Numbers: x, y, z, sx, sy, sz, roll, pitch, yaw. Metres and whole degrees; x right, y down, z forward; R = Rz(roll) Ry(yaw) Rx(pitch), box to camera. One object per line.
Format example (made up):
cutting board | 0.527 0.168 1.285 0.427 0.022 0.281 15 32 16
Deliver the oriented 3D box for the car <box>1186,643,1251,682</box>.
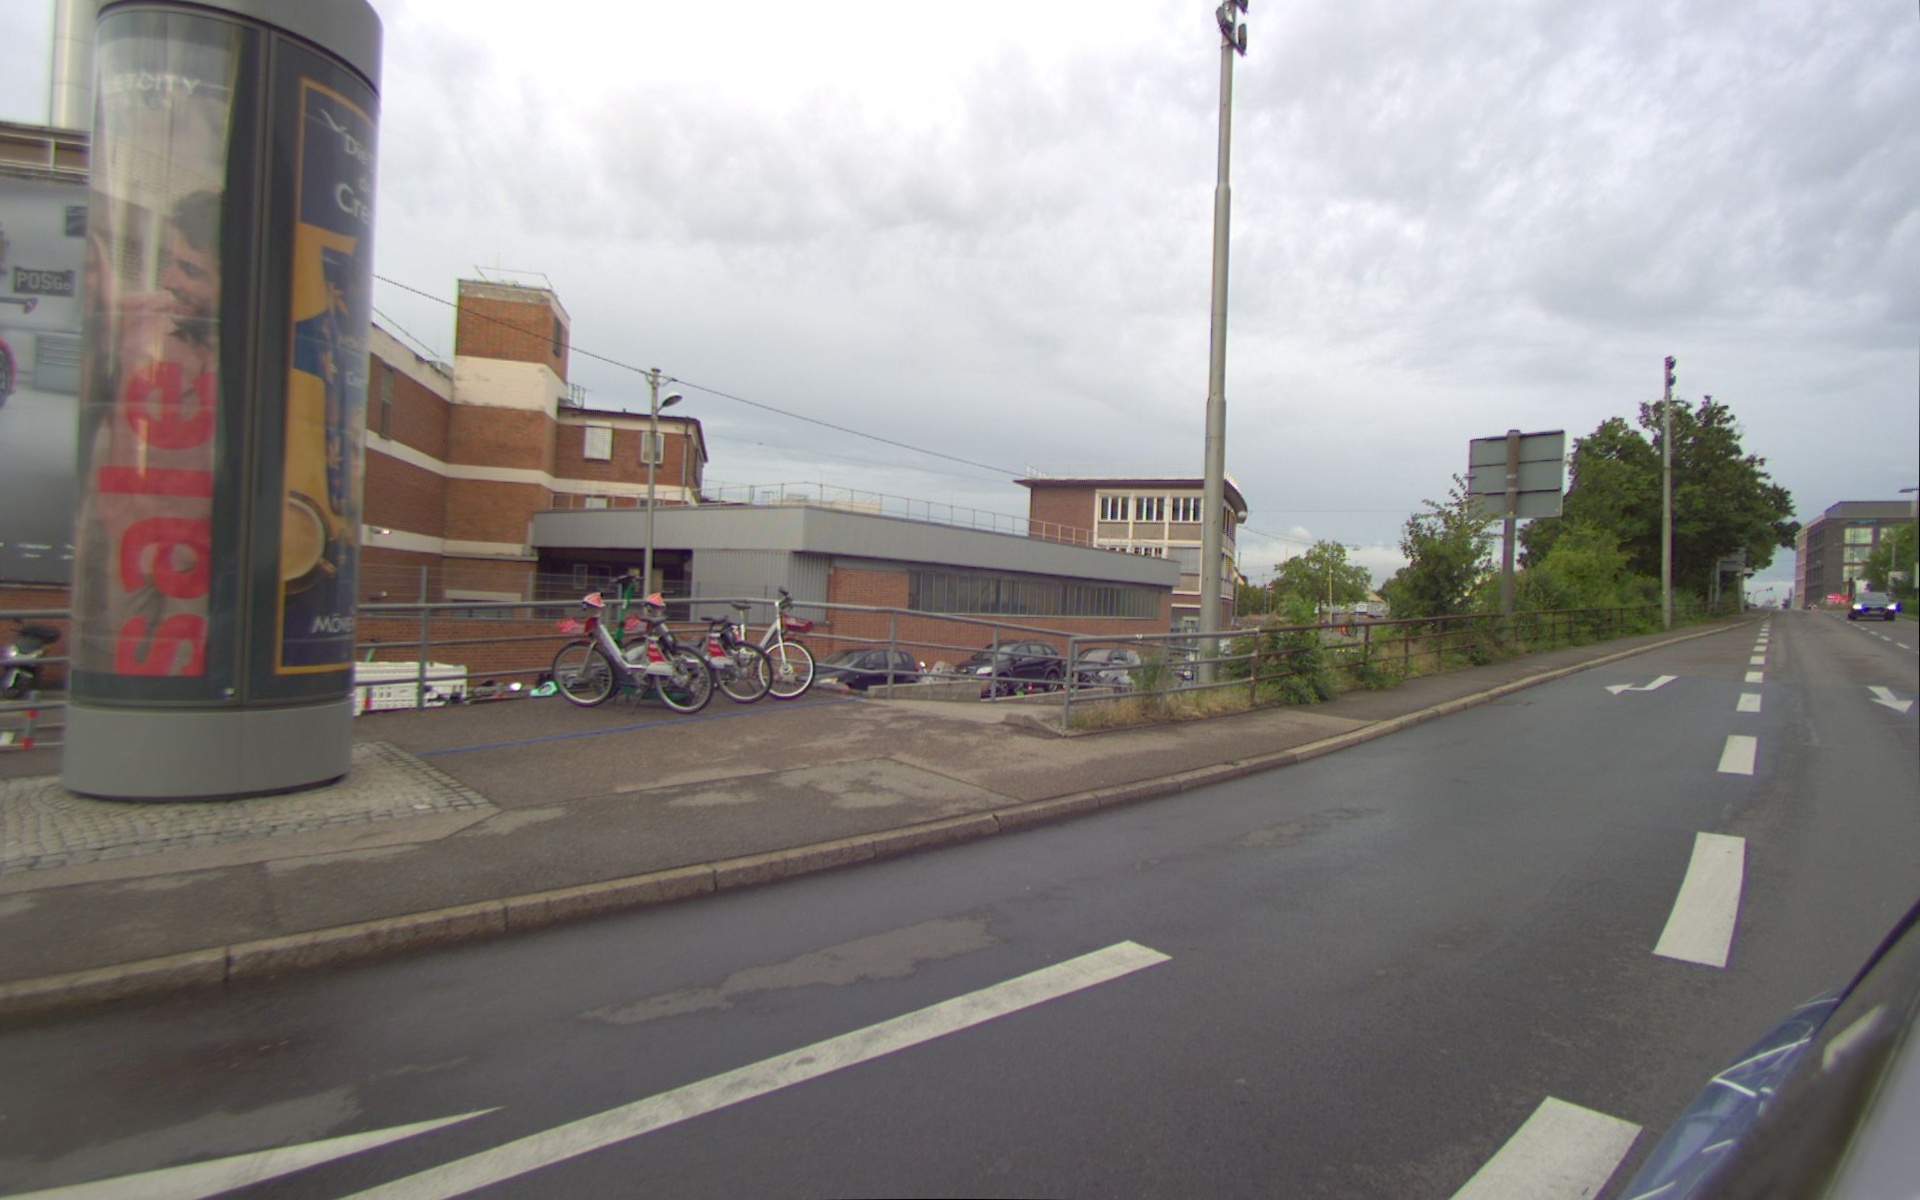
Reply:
car | 12.350 2.928 48.260 1.694 1.574 3.805 1 1 37

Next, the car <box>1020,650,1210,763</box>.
car | 2.880 1.807 18.240 1.695 1.574 3.802 1 1 39

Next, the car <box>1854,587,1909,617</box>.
car | 51.418 0.088 56.526 1.832 1.603 4.231 1 1 37

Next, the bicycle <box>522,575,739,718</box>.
bicycle | -3.104 0.408 9.564 1.903 1.239 0.597 2 1 12

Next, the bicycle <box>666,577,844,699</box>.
bicycle | -2.231 0.375 10.956 1.912 1.192 0.594 2 1 25

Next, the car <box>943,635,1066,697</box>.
car | 1.490 2.041 32.135 1.630 1.652 4.367 1 1 39

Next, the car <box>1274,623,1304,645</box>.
car | 23.965 2.465 73.633 1.650 1.413 3.967 0 0 24

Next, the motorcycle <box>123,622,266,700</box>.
motorcycle | -14.603 1.166 19.382 1.943 1.325 0.932 3 1 -21

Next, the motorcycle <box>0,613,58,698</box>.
motorcycle | -16.841 0.966 18.195 0.562 1.325 1.874 3 2 -32

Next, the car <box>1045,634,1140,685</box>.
car | 4.859 2.119 36.732 1.695 1.574 3.802 1 1 39

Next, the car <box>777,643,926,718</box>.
car | -2.807 2.057 26.901 1.695 1.648 3.874 1 1 39

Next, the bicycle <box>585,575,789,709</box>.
bicycle | -2.737 0.394 10.185 1.902 1.239 0.597 2 1 11

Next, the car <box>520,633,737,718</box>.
car | -7.067 1.585 21.945 1.695 1.630 4.201 -1 -3 39
